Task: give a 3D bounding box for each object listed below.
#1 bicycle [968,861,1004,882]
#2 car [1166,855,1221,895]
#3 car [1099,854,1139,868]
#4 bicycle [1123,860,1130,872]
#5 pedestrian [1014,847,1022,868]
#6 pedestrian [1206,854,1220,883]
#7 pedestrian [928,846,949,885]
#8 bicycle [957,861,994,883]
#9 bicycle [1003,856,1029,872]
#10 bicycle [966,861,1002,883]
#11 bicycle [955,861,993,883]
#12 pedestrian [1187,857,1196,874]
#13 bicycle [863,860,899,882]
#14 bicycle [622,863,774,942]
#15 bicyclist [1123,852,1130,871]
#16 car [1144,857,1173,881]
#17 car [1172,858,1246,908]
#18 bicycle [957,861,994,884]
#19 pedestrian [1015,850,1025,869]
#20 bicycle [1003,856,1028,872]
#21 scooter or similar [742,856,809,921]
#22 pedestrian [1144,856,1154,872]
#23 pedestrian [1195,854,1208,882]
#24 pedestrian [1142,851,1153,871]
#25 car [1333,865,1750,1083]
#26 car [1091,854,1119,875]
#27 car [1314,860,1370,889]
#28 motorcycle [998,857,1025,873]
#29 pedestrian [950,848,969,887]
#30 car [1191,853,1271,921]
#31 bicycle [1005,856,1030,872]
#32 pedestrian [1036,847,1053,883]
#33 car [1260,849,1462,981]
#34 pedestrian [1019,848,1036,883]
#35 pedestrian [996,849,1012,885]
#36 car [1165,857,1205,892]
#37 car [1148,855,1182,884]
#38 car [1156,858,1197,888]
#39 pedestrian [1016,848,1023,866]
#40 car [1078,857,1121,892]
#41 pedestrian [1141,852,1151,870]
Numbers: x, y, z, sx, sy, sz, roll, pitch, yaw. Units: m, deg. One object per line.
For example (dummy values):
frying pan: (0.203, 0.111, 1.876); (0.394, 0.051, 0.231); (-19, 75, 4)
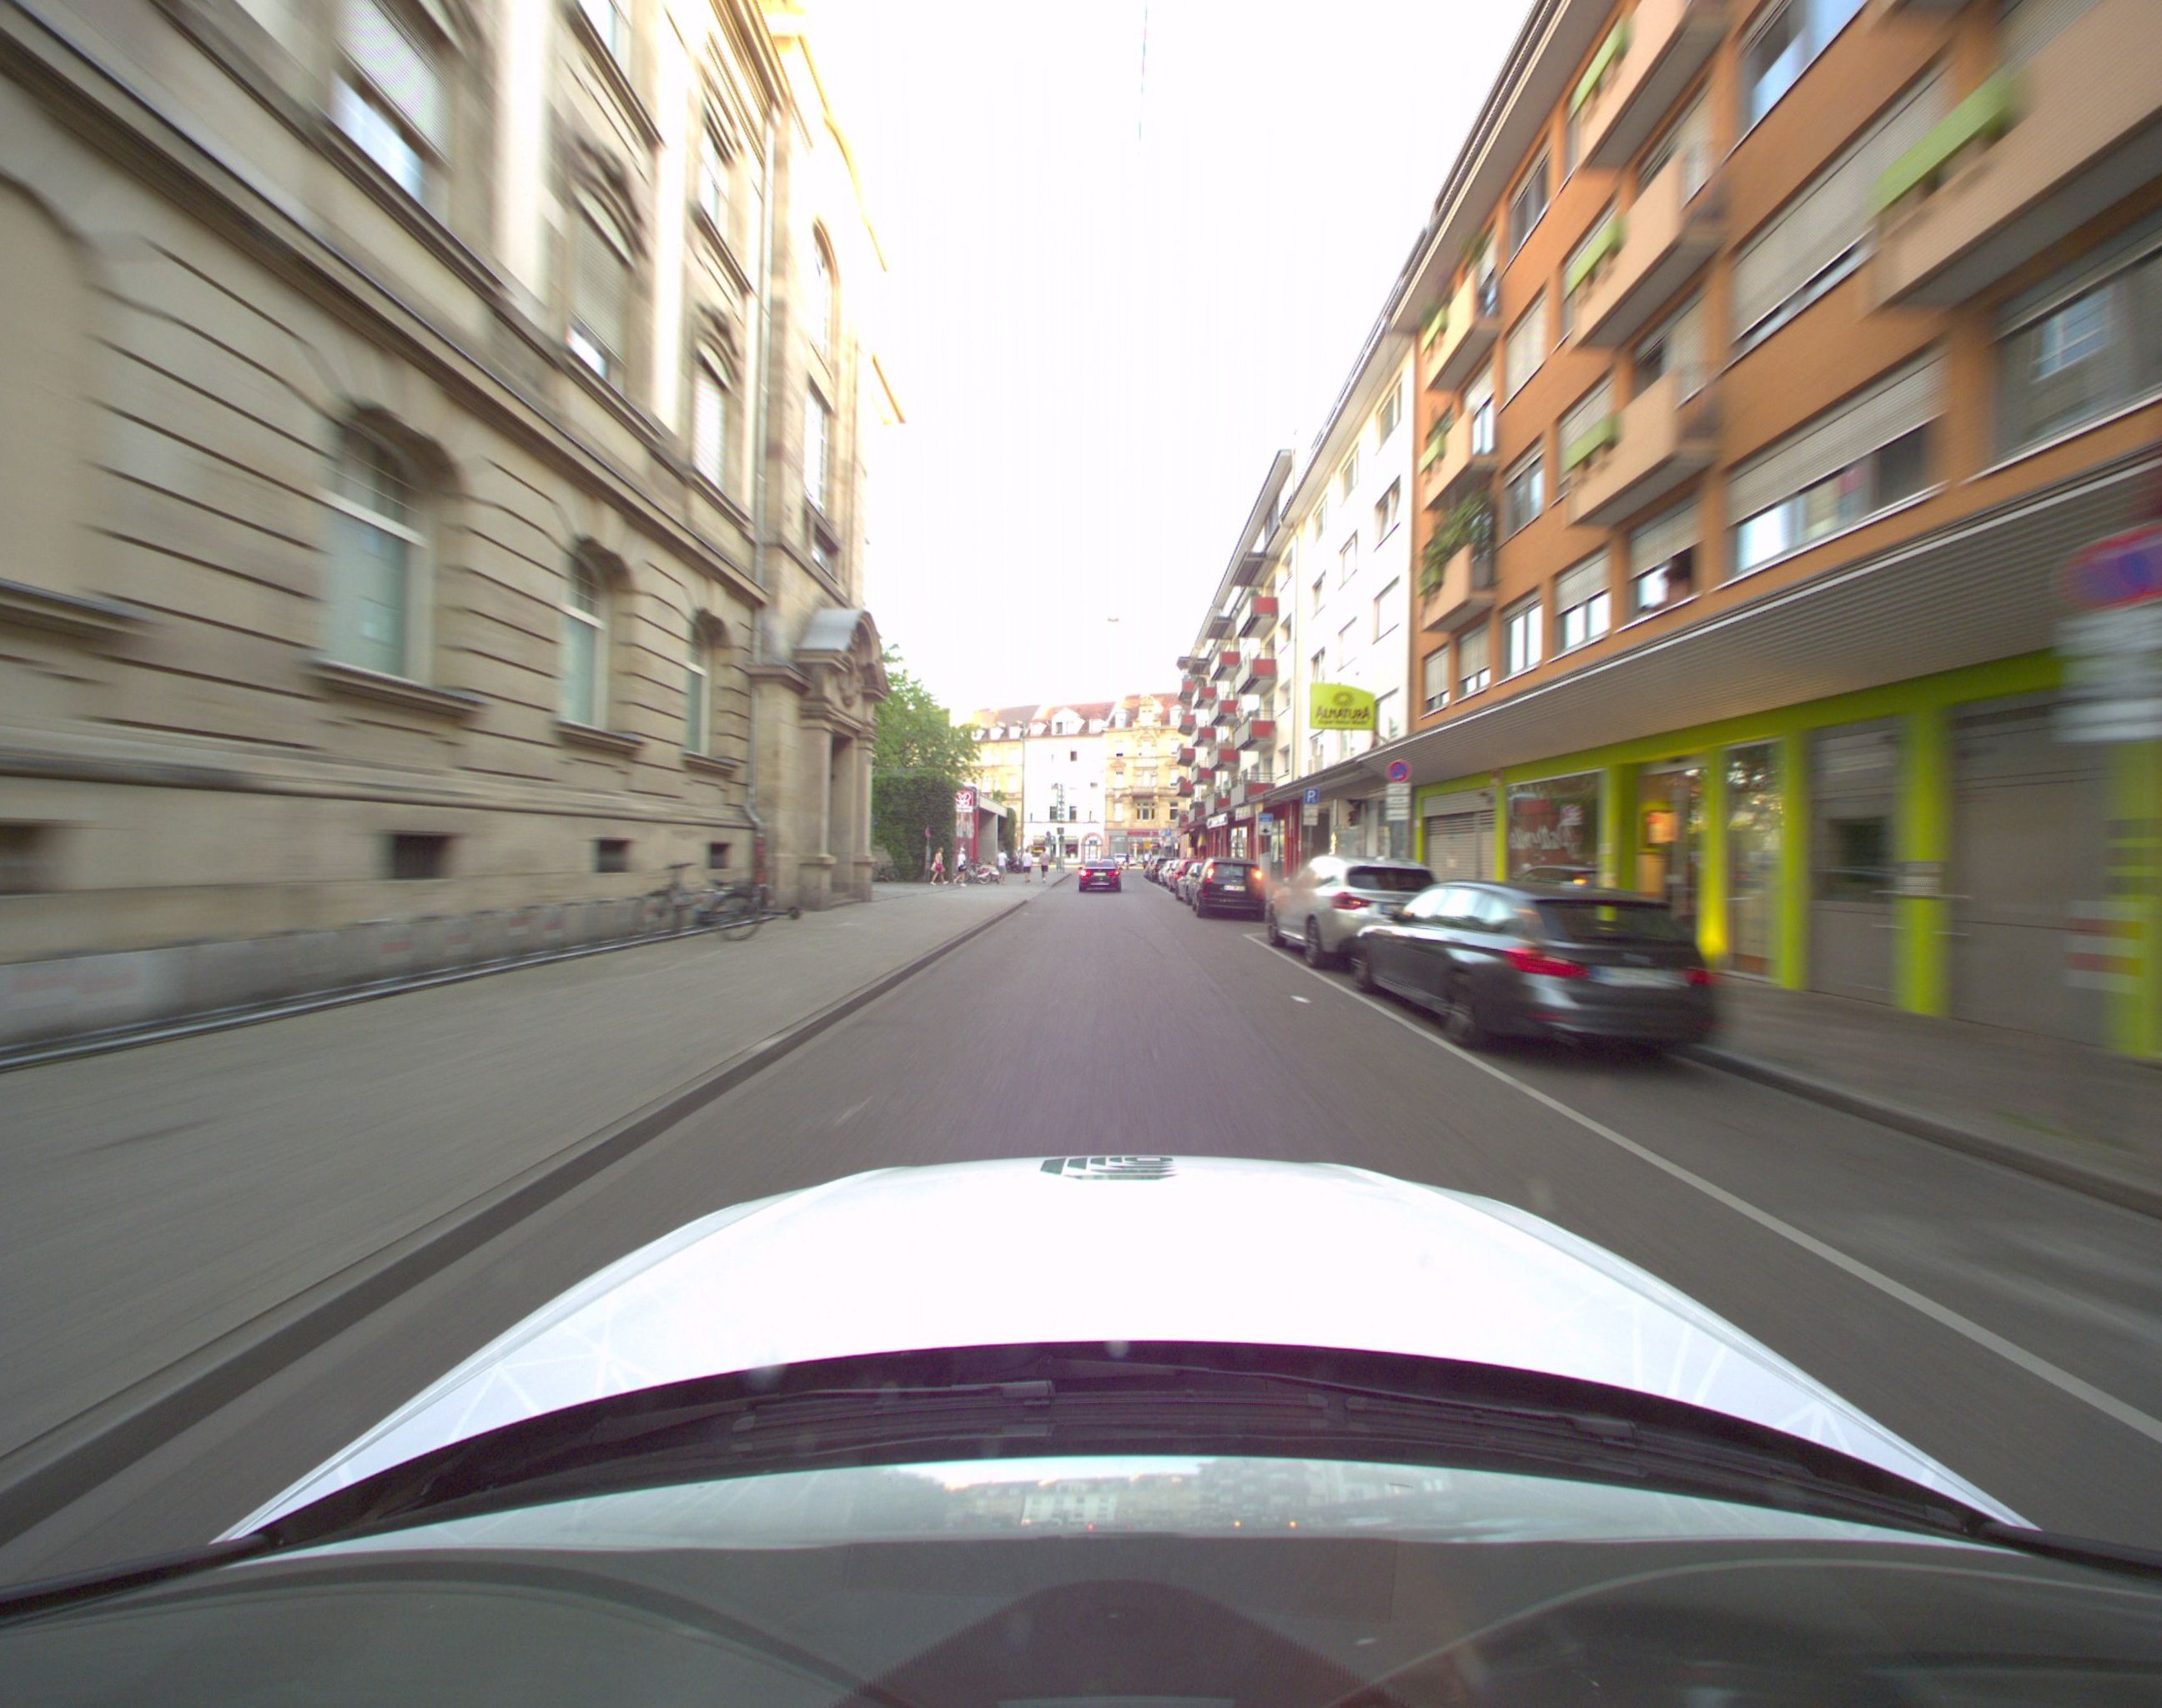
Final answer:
bicycle: (-5.129, 0.947, 43.990); (1.786, 1.107, 0.501); (2, 0, 4)
car: (4.859, 0.878, 35.785); (1.707, 1.512, 4.651); (3, 0, 0)
car: (4.492, 0.803, 96.160); (4.313, 1.562, 1.879); (0, -1, 24)
bicycle: (4.366, 1.179, 78.316); (0.534, 1.107, 1.802); (1, 0, 5)
pedestrian: (-5.770, 0.325, 74.371); (0.580, 1.882, 0.635); (0, 0, 7)
pedestrian: (7.866, 0.846, 48.552); (0.645, 1.661, 0.794); (-2, 0, 3)
pedestrian: (-6.624, 0.534, 37.983); (0.750, 1.749, 0.847); (2, 0, 1)
bicycle: (-5.395, 0.913, 41.721); (1.788, 1.107, 0.500); (1, 0, 0)
bicycle: (-4.780, 0.749, 60.171); (1.786, 1.107, 0.500); (2, 0, 3)
bicycle: (-5.164, 0.939, 43.358); (1.786, 1.107, 0.501); (2, 0, 4)
bicycle: (-5.409, 0.905, 41.186); (1.788, 1.107, 0.500); (1, 0, 0)
pedestrian: (8.954, 0.922, 66.020); (0.604, 1.348, 0.696); (-1, 0, 0)
bicycle: (-9.664, 0.826, 39.334); (1.653, 1.013, 0.371); (1, 0, 2)
bicycle: (-5.785, 0.729, 12.412); (1.939, 1.061, 0.617); (4, -1, -14)
bicyclist: (4.373, 0.730, 78.296); (0.521, 1.756, 0.620); (1, 0, 5)
car: (5.475, 0.998, 57.925); (1.758, 1.502, 4.793); (3, 0, 2)
car: (4.289, 0.930, 27.928); (1.731, 1.415, 4.682); (3, 0, 0)
bicycle: (-5.290, 0.901, 40.837); (1.788, 1.107, 0.500); (1, 0, 1)
pedestrian: (-5.616, 0.496, 75.179); (0.665, 1.746, 0.661); (0, 0, 41)
bicycle: (-4.794, 0.747, 59.576); (1.788, 1.107, 0.500); (2, 0, 0)
scooter or similar: (-6.067, 0.684, 16.208); (1.133, 1.232, 0.495); (2, 0, -11)
pedestrian: (6.367, 0.928, 76.262); (0.735, 1.513, 0.648); (2, 0, -7)
pedestrian: (7.185, 0.843, 48.649); (0.645, 1.661, 0.656); (-2, 0, 3)
pedestrian: (6.114, 0.646, 75.194); (0.681, 1.877, 0.693); (2, 0, -36)
car: (4.096, 0.903, 8.330); (1.685, 1.414, 4.759); (3, 0, 2)
car: (1.832, 0.758, 61.971); (1.868, 1.473, 4.006); (0, 0, 5)
car: (12.887, 0.980, 40.385); (1.732, 1.336, 4.004); (0, 0, 4)
motorcycle: (-4.955, 0.757, 58.145); (1.783, 1.064, 0.769); (2, 0, 27)
pedestrian: (-5.623, 0.601, 37.671); (0.646, 1.750, 0.986); (1, 0, 1)
car: (4.043, 0.816, 22.554); (1.785, 1.610, 4.494); (3, 0, 6)
bicycle: (-4.737, 0.754, 60.919); (1.790, 1.107, 0.499); (2, 0, -4)
pedestrian: (-1.951, 0.567, 43.654); (0.741, 1.893, 1.051); (2, 0, 2)
car: (4.277, 0.803, 13.298); (1.745, 1.668, 4.759); (3, 0, 2)
pedestrian: (-2.848, 0.581, 43.449); (0.738, 1.812, 1.009); (3, 0, 1)
pedestrian: (-3.864, 0.651, 41.047); (0.714, 1.754, 0.848); (1, 0, 0)
car: (5.105, 0.975, 40.317); (1.600, 1.512, 4.051); (3, 0, 3)
car: (5.304, 0.959, 52.034); (1.758, 1.642, 4.792); (3, 0, 2)
car: (5.275, 1.015, 45.494); (1.693, 1.452, 4.458); (3, 0, 0)
pedestrian: (-5.562, 0.252, 73.635); (0.498, 1.643, 0.521); (0, 0, 3)
car: (0.850, 0.868, 36.158); (1.758, 1.375, 4.793); (1, 0, 2)
pedestrian: (6.139, 0.645, 76.924); (0.723, 1.609, 0.648); (2, 0, -7)
